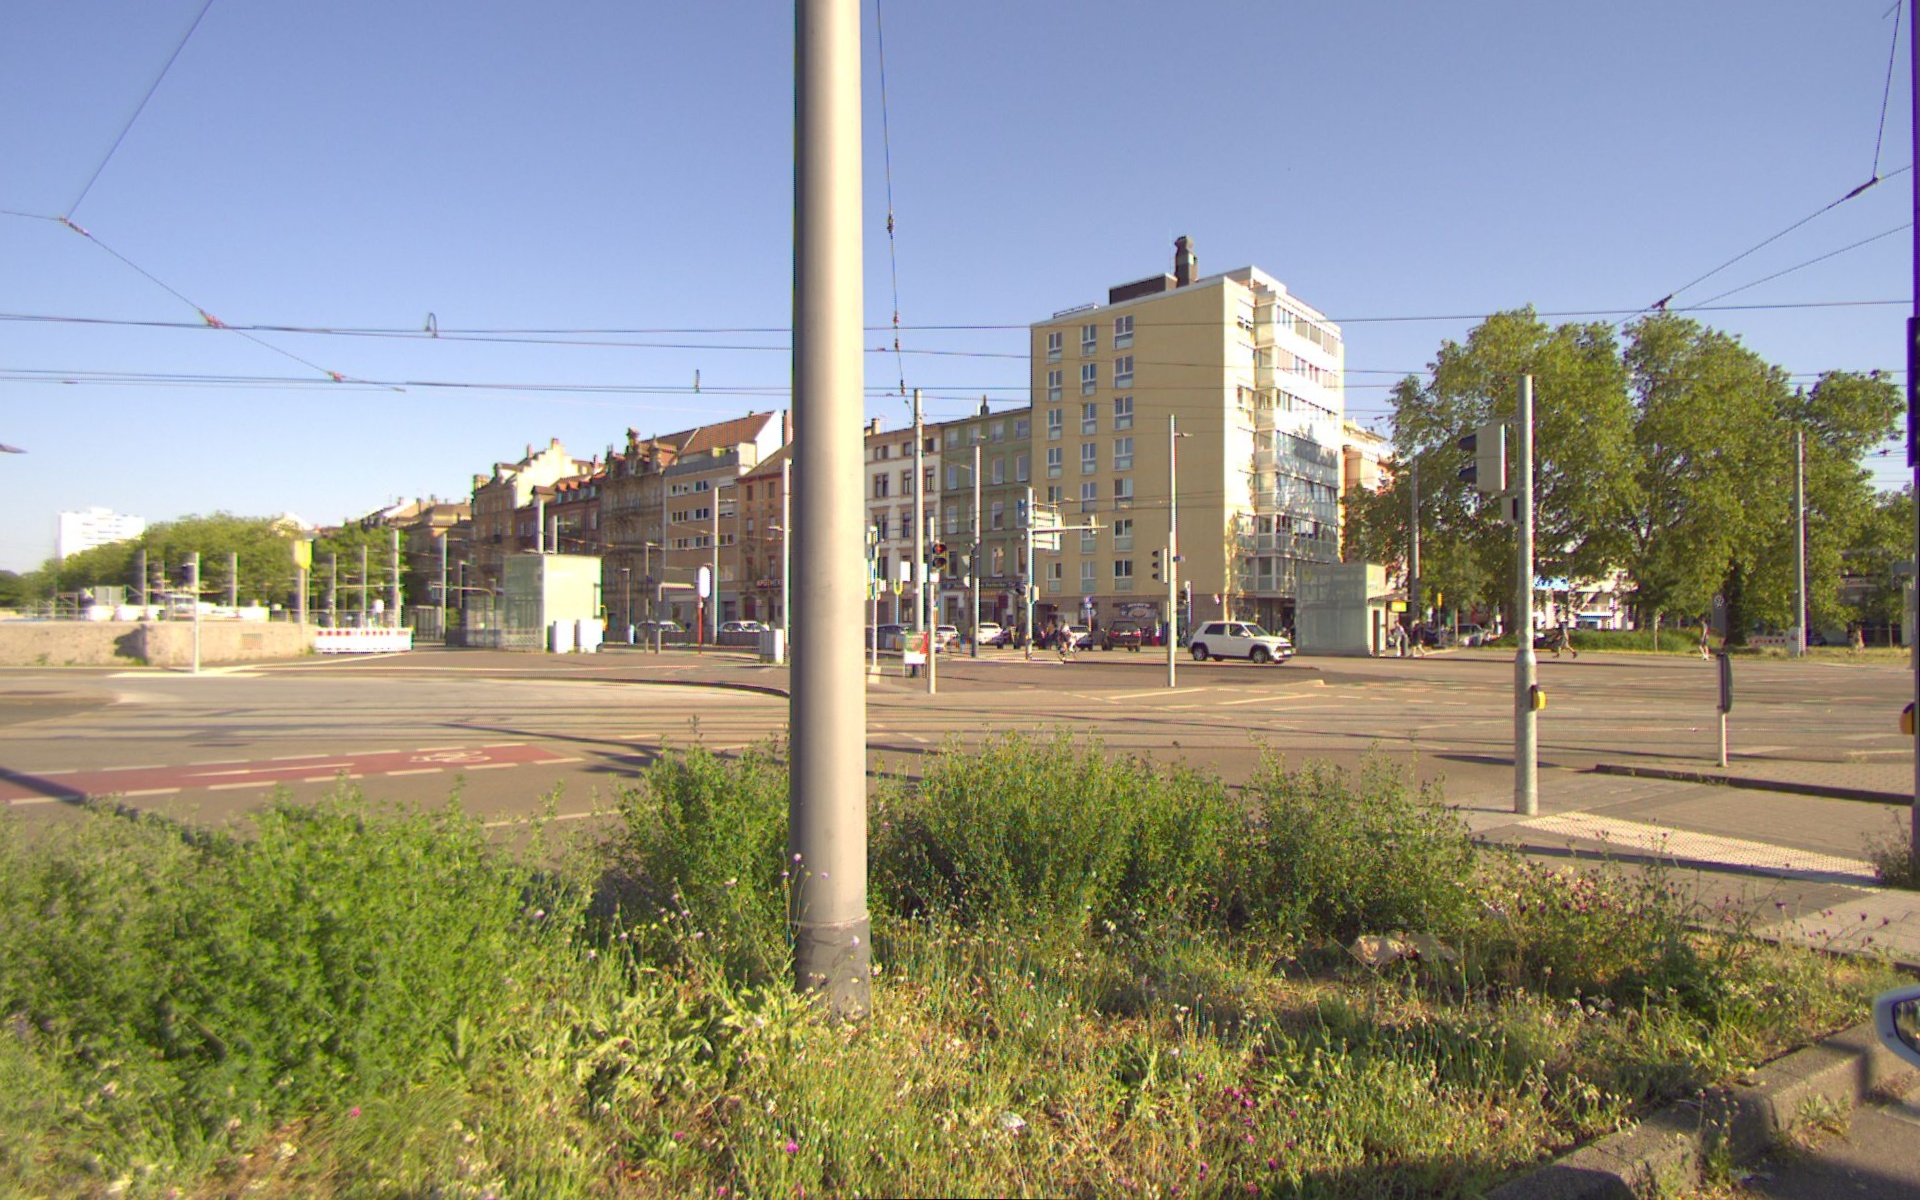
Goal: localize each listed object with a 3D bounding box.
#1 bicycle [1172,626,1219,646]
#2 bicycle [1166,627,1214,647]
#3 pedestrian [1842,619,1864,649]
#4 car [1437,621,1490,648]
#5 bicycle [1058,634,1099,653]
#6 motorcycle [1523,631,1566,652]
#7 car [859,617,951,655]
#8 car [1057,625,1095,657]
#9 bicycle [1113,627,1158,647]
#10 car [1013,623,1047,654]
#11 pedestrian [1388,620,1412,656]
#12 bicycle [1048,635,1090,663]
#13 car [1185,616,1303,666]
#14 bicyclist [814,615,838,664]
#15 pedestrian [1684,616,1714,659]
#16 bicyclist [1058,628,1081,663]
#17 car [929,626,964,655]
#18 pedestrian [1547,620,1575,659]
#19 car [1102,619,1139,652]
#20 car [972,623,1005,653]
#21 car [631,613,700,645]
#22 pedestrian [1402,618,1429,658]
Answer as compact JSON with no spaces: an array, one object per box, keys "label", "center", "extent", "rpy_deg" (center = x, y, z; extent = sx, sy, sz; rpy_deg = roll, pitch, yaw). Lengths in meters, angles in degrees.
[{"label":"bicycle","center":[14.908,2.280,63.723],"extent":[3.003,1.167,0.637],"rpy_deg":[1,0,44]},{"label":"bicycle","center":[14.441,2.322,63.195],"extent":[3.003,1.167,0.637],"rpy_deg":[1,0,44]},{"label":"pedestrian","center":[52.210,2.006,58.715],"extent":[0.491,1.716,0.852],"rpy_deg":[2,0,-32]},{"label":"car","center":[32.002,2.206,63.810],"extent":[3.973,1.588,1.753],"rpy_deg":[2,0,-44]},{"label":"bicycle","center":[8.119,2.951,69.024],"extent":[3.003,1.167,0.637],"rpy_deg":[1,0,44]},{"label":"motorcycle","center":[29.139,2.060,50.109],"extent":[1.753,0.926,0.676],"rpy_deg":[2,0,41]},{"label":"car","center":[-2.794,1.775,50.333],"extent":[4.650,1.684,1.777],"rpy_deg":[2,0,41]},{"label":"car","center":[6.812,2.376,59.160],"extent":[1.960,1.728,4.001],"rpy_deg":[2,0,4]},{"label":"bicycle","center":[11.533,2.404,66.097],"extent":[3.003,1.167,0.637],"rpy_deg":[1,0,44]},{"label":"car","center":[4.286,2.317,61.513],"extent":[1.960,1.728,4.001],"rpy_deg":[2,0,4]},{"label":"pedestrian","center":[21.710,1.878,49.570],"extent":[0.747,1.728,0.793],"rpy_deg":[2,0,-22]},{"label":"bicycle","center":[4.418,1.974,40.679],"extent":[0.617,1.104,1.914],"rpy_deg":[2,0,44]},{"label":"car","center":[10.789,1.515,38.307],"extent":[3.945,1.684,1.775],"rpy_deg":[1,0,44]},{"label":"bicyclist","center":[-4.808,1.403,36.193],"extent":[0.653,1.706,0.980],"rpy_deg":[2,0,2]},{"label":"pedestrian","center":[32.970,1.667,44.814],"extent":[0.747,1.911,0.793],"rpy_deg":[2,0,-22]},{"label":"bicyclist","center":[4.427,1.825,40.678],"extent":[0.617,1.368,0.658],"rpy_deg":[2,0,44]},{"label":"car","center":[-0.859,2.652,66.314],"extent":[1.960,1.728,4.001],"rpy_deg":[2,0,4]},{"label":"pedestrian","center":[27.616,1.818,46.155],"extent":[0.747,1.728,0.793],"rpy_deg":[2,0,-22]},{"label":"car","center":[9.125,2.013,57.452],"extent":[1.684,1.728,4.001],"rpy_deg":[2,0,4]},{"label":"car","center":[1.854,2.400,63.937],"extent":[1.960,1.728,4.001],"rpy_deg":[2,0,4]},{"label":"car","center":[-19.152,1.856,65.259],"extent":[4.837,1.849,1.990],"rpy_deg":[2,0,41]},{"label":"pedestrian","center":[20.164,1.678,44.475],"extent":[0.747,1.728,0.793],"rpy_deg":[2,0,-22]}]
